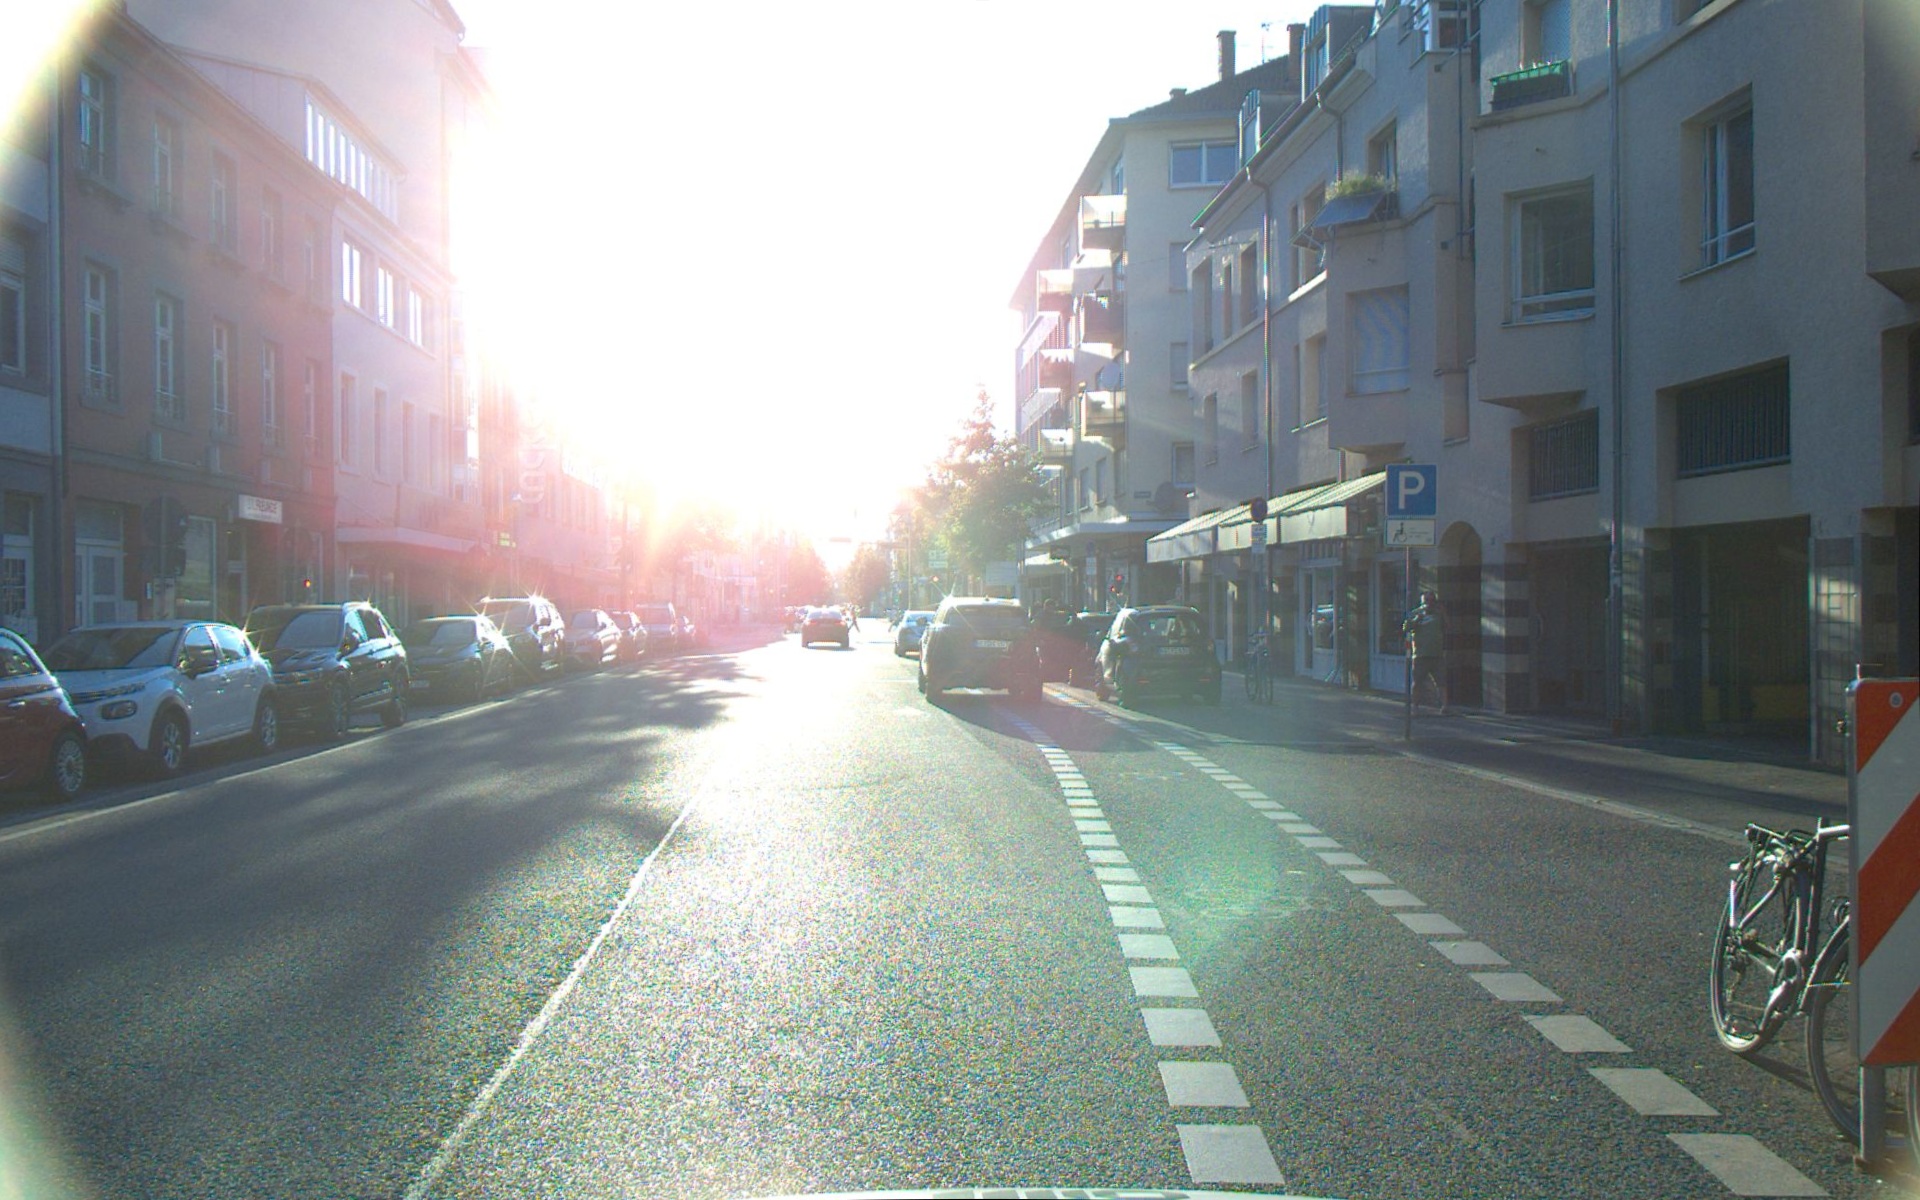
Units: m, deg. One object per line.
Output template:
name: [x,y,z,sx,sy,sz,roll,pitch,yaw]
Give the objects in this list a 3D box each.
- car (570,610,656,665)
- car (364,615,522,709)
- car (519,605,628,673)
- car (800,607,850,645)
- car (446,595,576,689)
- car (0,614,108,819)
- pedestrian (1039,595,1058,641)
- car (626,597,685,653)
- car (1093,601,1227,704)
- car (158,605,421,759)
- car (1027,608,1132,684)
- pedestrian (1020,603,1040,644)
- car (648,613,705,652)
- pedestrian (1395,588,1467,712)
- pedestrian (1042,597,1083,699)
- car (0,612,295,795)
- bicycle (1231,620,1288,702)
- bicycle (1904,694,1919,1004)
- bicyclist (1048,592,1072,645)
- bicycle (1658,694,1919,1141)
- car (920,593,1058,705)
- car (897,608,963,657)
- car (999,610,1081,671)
car: [-10.155,1.071,48.730,1.791,1.464,4.550,-3,0,-4]
car: [-9.151,1.052,29.601,1.679,1.465,4.306,-2,0,-4]
car: [-9.913,0.955,42.800,1.791,1.583,5.132,-2,0,-3]
car: [-5.251,0.988,64.807,1.846,1.440,4.322,0,0,-3]
car: [-9.677,0.850,36.052,1.792,1.842,5.342,-2,0,-6]
car: [-8.156,0.924,12.483,1.739,1.541,3.482,-2,0,-3]
pedestrian: [3.421,0.706,63.966,0.674,1.752,0.717,-1,-1,2]
car: [-10.665,0.869,58.106,1.798,1.887,4.117,0,0,-7]
car: [3.237,0.818,27.160,1.601,1.580,2.691,-1,0,-6]
car: [-8.321,0.936,20.951,1.739,1.661,4.235,-2,0,-3]
car: [2.400,0.905,34.073,1.601,1.449,3.754,-1,0,-4]
pedestrian: [2.721,0.905,64.157,0.674,1.586,0.862,0,0,-4]
car: [-10.976,1.241,64.263,1.797,1.351,4.120,-2,1,-5]
pedestrian: [6.549,0.697,23.015,0.793,1.675,0.606,-2,-1,2]
pedestrian: [1.727,0.801,27.826,0.436,1.694,0.560,-1,0,-29]
car: [-8.273,0.936,16.590,1.738,1.541,3.947,-2,0,-3]
bicycle: [4.809,0.961,26.624,0.389,1.256,1.823,-1,0,-6]
bicycle: [3.595,0.914,5.372,0.363,1.127,1.524,-1,0,8]
bicyclist: [3.299,0.600,54.617,0.637,1.732,1.094,0,0,-4]
bicycle: [2.729,0.923,5.362,0.355,1.161,1.566,-1,-1,4]
car: [0.404,0.772,28.080,1.955,1.684,4.670,2,0,-3]
car: [-0.992,1.007,52.640,1.884,1.440,4.545,2,0,-3]
car: [1.970,0.975,41.696,1.669,1.461,3.929,0,0,-3]
